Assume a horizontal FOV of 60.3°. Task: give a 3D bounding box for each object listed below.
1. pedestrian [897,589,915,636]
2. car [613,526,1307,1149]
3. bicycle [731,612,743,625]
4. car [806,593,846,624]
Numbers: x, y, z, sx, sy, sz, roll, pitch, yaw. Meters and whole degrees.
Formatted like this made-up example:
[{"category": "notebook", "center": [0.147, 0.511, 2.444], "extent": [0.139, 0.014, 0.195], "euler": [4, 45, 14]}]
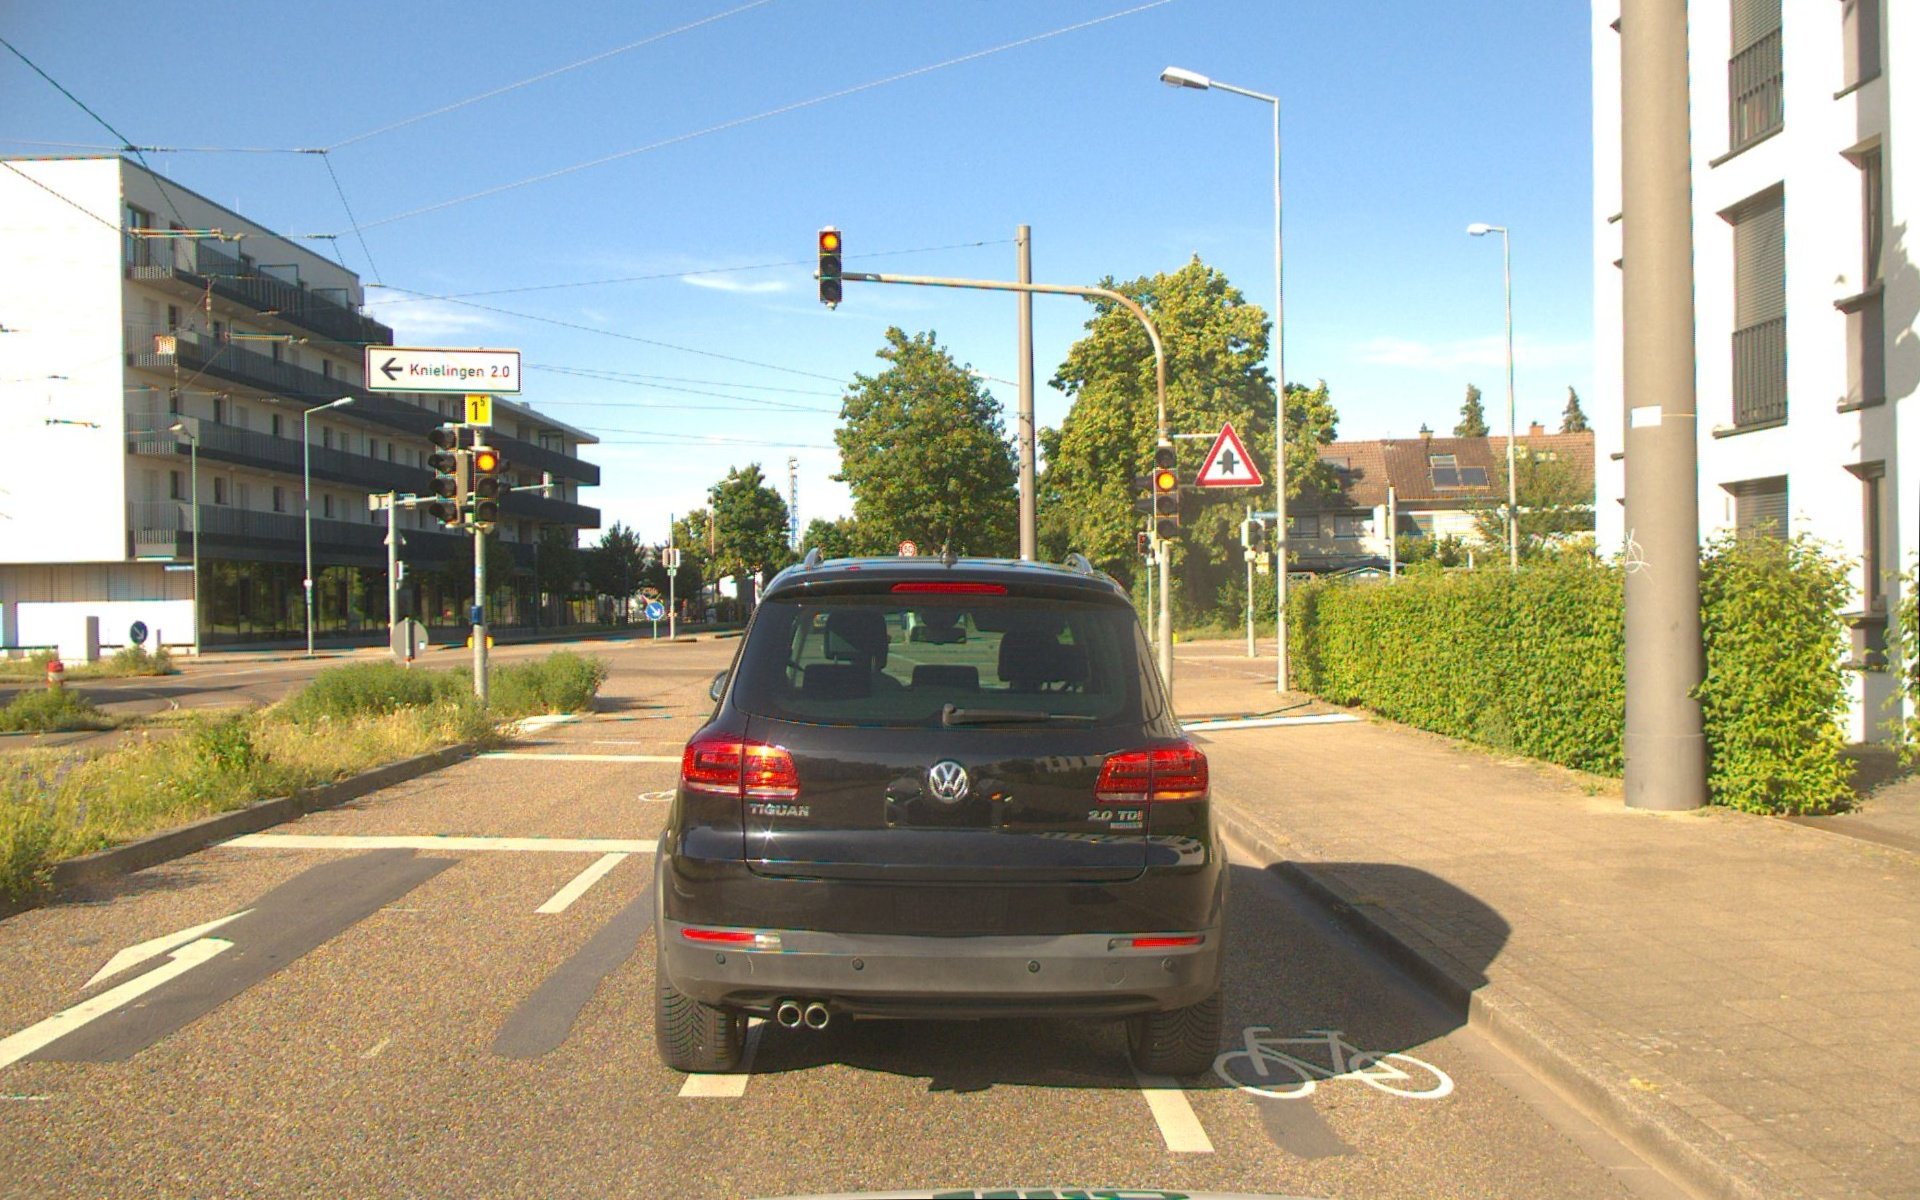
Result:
[{"category": "pedestrian", "center": [-1.934, 0.446, 59.690], "extent": [0.590, 1.668, 0.529], "euler": [0, 0, 4]}, {"category": "car", "center": [-0.062, 0.635, 6.478], "extent": [1.867, 1.671, 3.998], "euler": [0, 0, -2]}, {"category": "bicycle", "center": [-15.796, 1.325, 117.165], "extent": [0.485, 0.863, 2.079], "euler": [0, 0, 3]}, {"category": "car", "center": [-6.333, 0.367, 78.395], "extent": [1.716, 1.411, 3.998], "euler": [0, 0, -2]}]
